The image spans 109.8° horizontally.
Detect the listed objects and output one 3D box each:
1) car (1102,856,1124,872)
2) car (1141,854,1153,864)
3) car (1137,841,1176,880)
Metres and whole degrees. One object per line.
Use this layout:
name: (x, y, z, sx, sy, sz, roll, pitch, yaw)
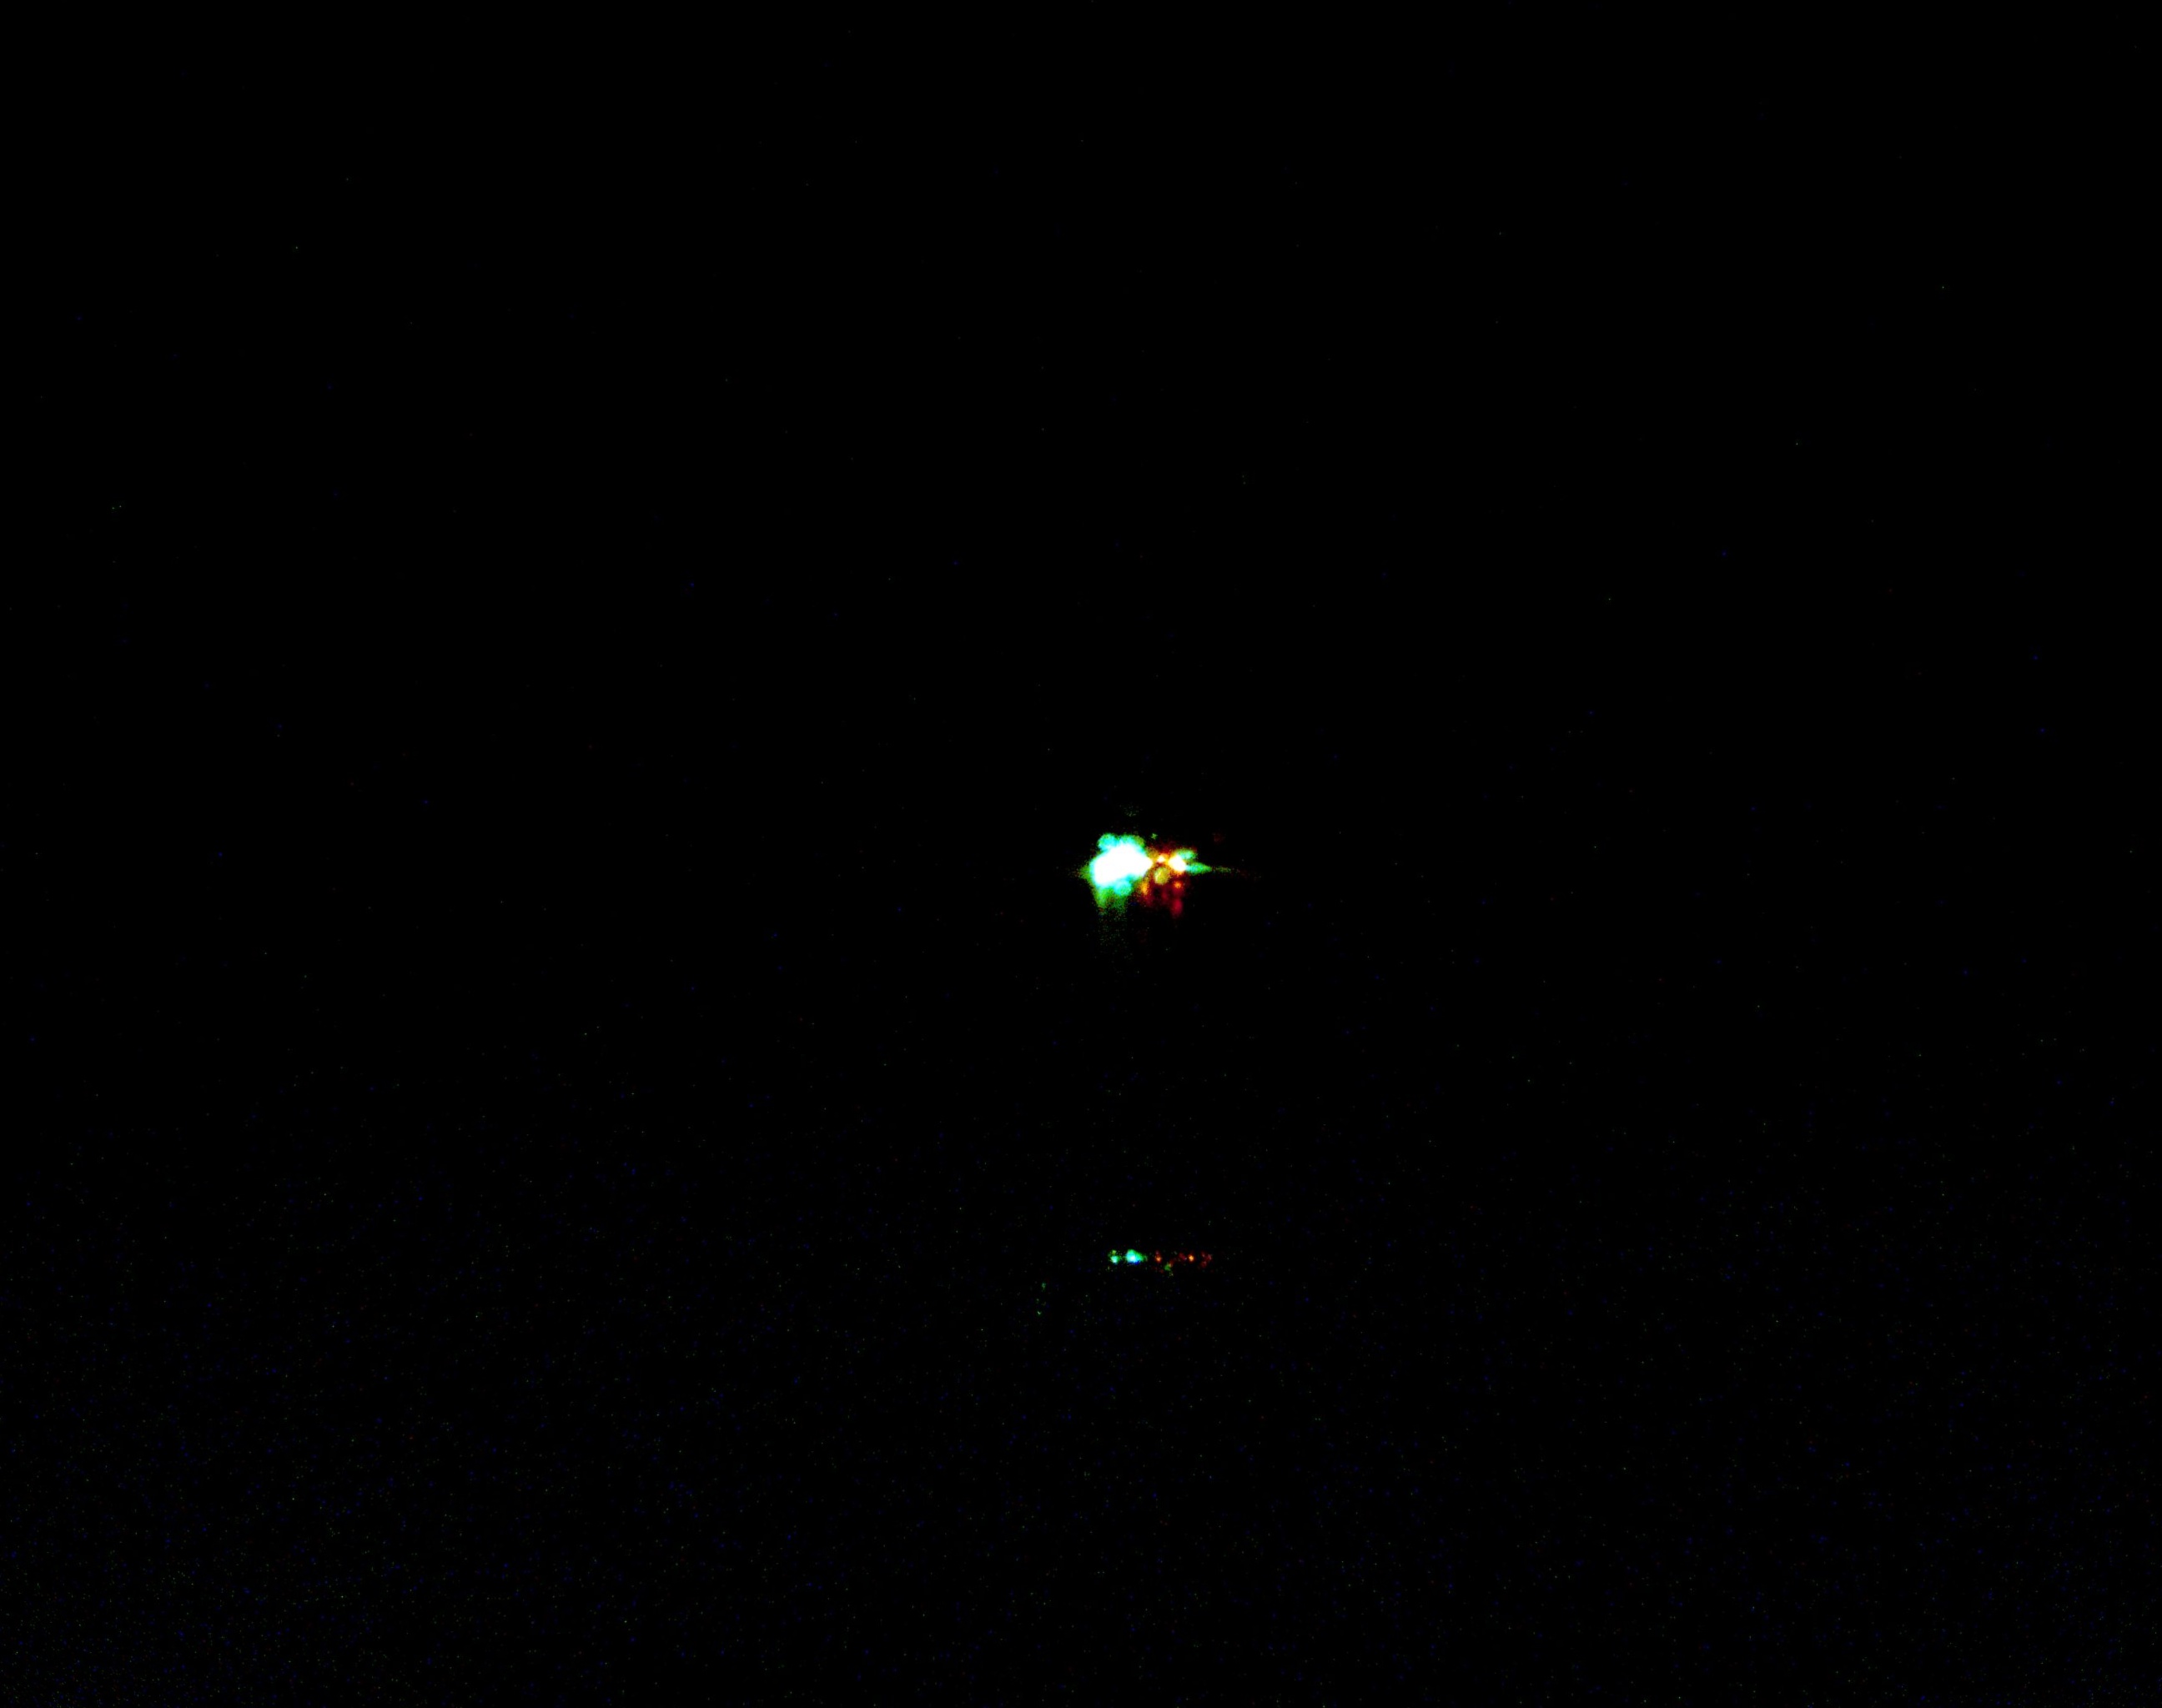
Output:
car: (3.460, 1.061, 81.570, 1.877, 1.578, 4.891, -2, 0, 8)
car: (11.834, 0.967, 136.748, 1.930, 1.693, 4.001, -2, 0, 4)
car: (4.639, 0.399, 47.565, 1.998, 2.259, 5.468, -2, 0, 2)
